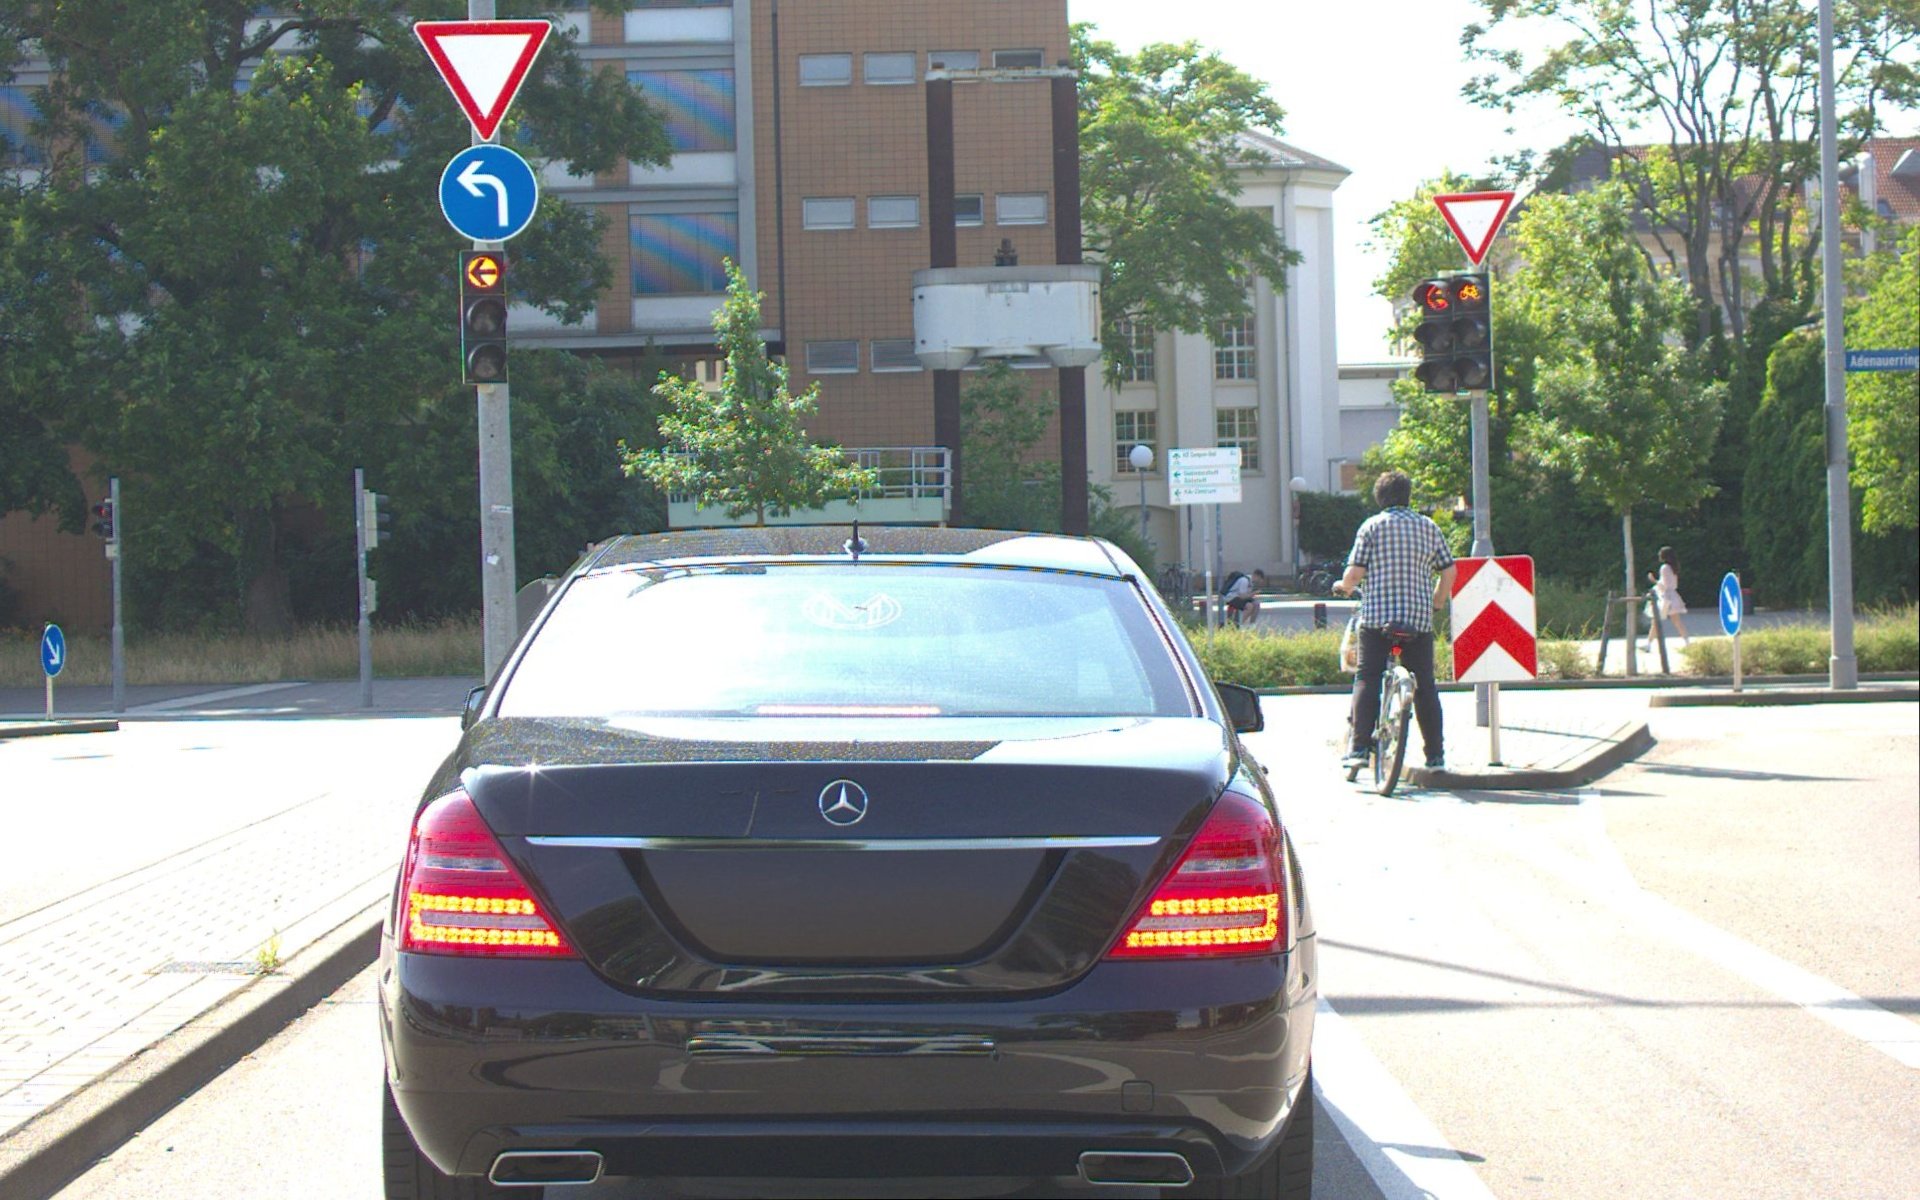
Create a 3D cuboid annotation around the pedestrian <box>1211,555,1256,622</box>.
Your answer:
[{"bbox_3d":[5.079,-0.217,63.812,0.793,1.209,0.757,1,0,6],"label":"pedestrian"}]

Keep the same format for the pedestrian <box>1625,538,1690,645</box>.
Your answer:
[{"bbox_3d":[10.529,-0.132,51.910,0.811,1.574,0.692,-2,0,2],"label":"pedestrian"}]

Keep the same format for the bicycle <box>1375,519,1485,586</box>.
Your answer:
[{"bbox_3d":[12.805,-1.296,93.781,2.823,1.738,0.842,-2,1,-1],"label":"bicycle"}]

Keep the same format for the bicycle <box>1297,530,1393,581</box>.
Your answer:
[{"bbox_3d":[11.869,-1.366,106.067,2.823,1.475,0.841,-2,1,0],"label":"bicycle"}]

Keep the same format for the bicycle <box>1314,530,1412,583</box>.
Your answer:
[{"bbox_3d":[12.256,-1.325,104.545,2.823,1.495,0.842,-2,1,-1],"label":"bicycle"}]

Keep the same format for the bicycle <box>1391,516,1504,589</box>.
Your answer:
[{"bbox_3d":[12.971,-1.270,91.522,2.823,1.830,0.842,-2,1,-1],"label":"bicycle"}]

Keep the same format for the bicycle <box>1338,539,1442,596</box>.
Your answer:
[{"bbox_3d":[12.293,-0.943,98.389,2.823,1.532,0.842,-2,1,-1],"label":"bicycle"}]

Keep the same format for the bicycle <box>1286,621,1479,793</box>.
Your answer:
[{"bbox_3d":[2.510,0.617,20.628,0.692,0.943,1.959,1,1,-7],"label":"bicycle"}]

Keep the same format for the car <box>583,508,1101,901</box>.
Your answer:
[{"bbox_3d":[-0.481,0.388,15.375,1.993,1.503,4.000,1,1,-1],"label":"car"}]

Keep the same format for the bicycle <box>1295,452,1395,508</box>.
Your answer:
[{"bbox_3d":[11.455,-3.557,102.271,2.823,1.553,0.842,-2,1,-1],"label":"bicycle"}]

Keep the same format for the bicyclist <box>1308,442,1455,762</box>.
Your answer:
[{"bbox_3d":[2.514,0.008,20.592,0.685,1.872,0.860,0,0,-7],"label":"bicyclist"}]

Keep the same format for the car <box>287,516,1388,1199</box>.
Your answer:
[{"bbox_3d":[-0.314,0.603,8.189,1.858,1.525,4.714,0,1,-3],"label":"car"}]

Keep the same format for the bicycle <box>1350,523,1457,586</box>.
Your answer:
[{"bbox_3d":[12.416,-1.279,96.327,2.823,1.653,0.842,-2,2,-1],"label":"bicycle"}]
